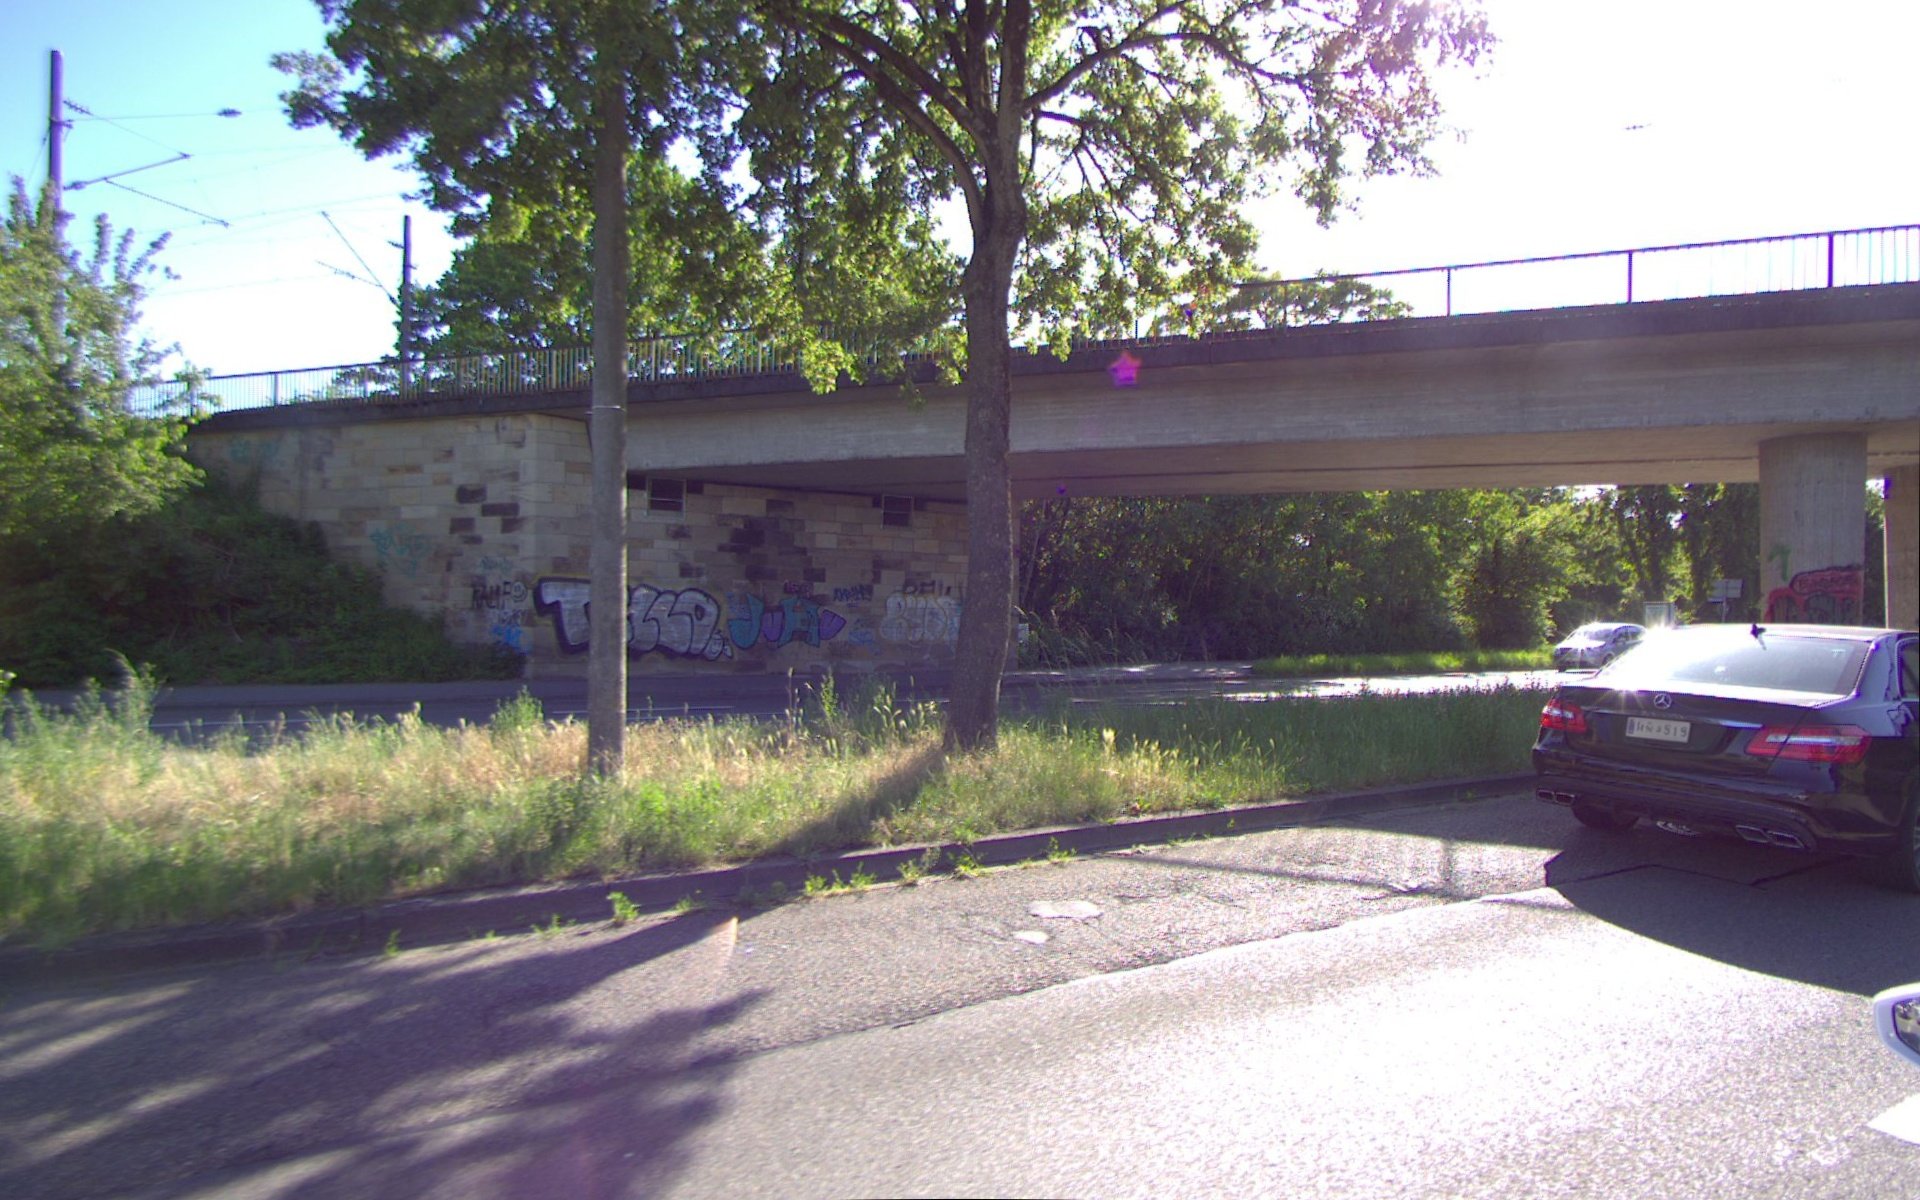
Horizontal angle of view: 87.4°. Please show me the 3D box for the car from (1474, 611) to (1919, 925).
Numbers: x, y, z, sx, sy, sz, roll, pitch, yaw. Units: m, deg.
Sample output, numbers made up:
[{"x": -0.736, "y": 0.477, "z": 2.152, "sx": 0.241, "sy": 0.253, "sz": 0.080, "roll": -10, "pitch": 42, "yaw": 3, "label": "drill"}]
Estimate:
[{"x": 5.965, "y": 0.879, "z": 6.949, "sx": 4.859, "sy": 1.502, "sz": 1.950, "roll": 1, "pitch": 0, "yaw": -30, "label": "car"}]

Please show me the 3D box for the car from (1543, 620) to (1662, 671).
[{"x": 22.010, "y": 1.554, "z": 34.381, "sx": 4.130, "sy": 1.638, "sz": 1.721, "roll": 2, "pitch": -2, "yaw": -30, "label": "car"}]
